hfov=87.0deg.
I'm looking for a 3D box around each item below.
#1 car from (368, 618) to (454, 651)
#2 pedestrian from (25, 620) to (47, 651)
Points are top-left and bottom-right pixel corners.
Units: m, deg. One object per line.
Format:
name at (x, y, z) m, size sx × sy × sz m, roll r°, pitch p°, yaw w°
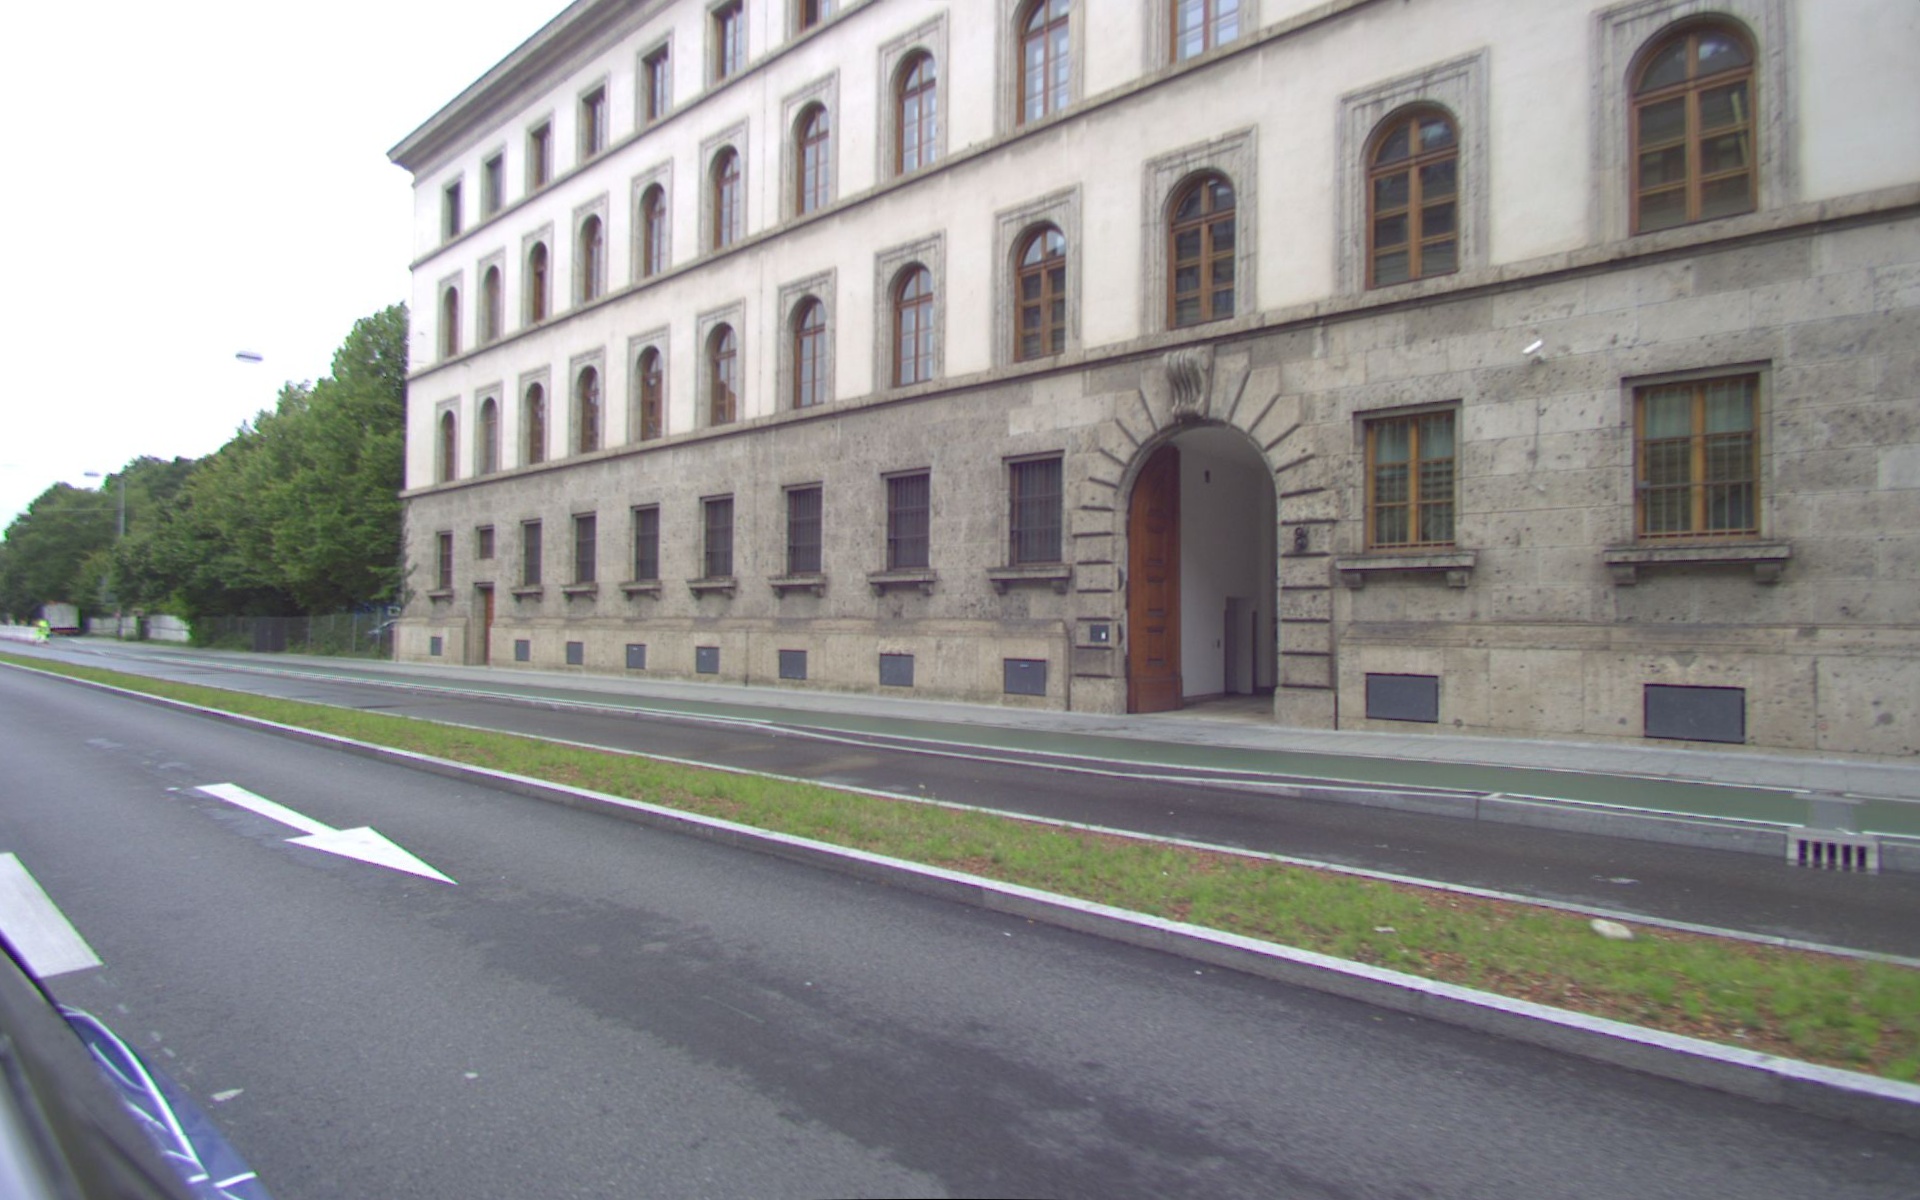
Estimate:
car at (-31.491, 1.968, 58.111) m, size 1.877 × 1.722 × 3.981 m, roll 1°, pitch 1°, yaw 45°
pedestrian at (-60.997, 2.355, 66.833) m, size 0.852 × 2.029 × 0.760 m, roll 0°, pitch -1°, yaw -25°
